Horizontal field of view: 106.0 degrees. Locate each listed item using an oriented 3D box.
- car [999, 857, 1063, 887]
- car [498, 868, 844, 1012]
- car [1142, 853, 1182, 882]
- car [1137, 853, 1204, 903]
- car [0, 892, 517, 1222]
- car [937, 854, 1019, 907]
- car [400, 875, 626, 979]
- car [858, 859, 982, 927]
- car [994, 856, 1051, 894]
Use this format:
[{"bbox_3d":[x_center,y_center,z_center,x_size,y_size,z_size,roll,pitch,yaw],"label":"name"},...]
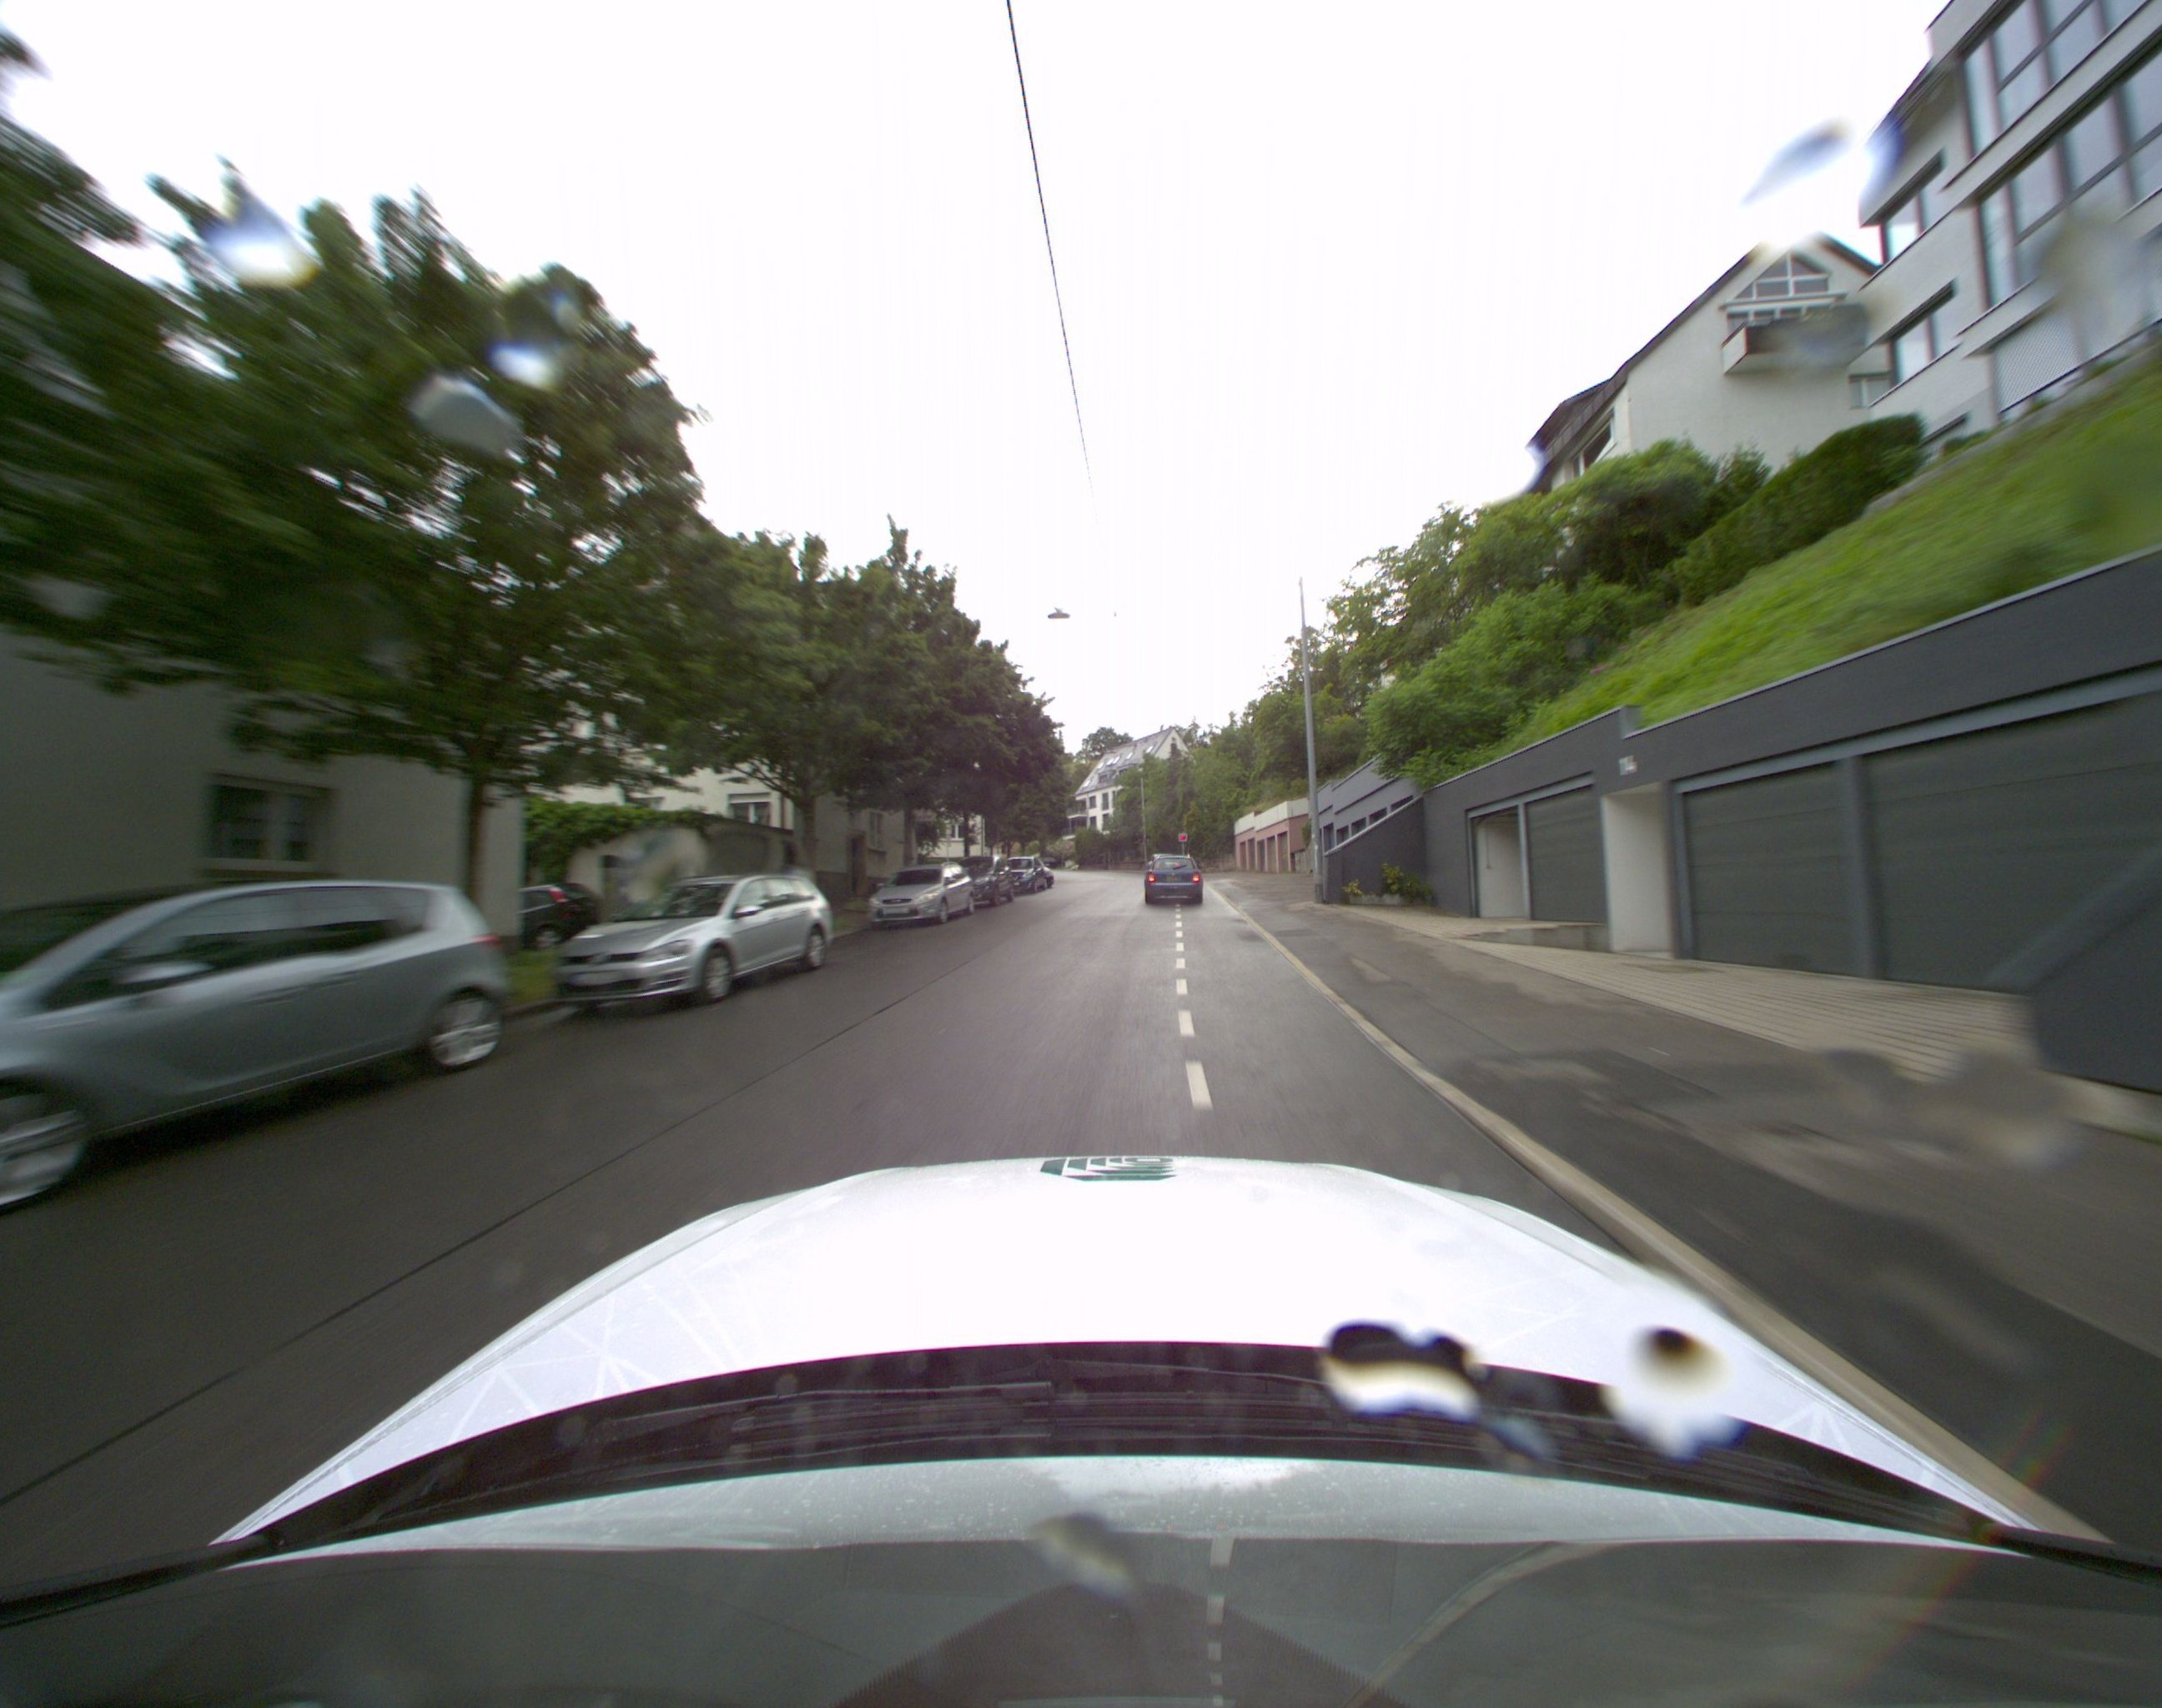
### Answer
[{"bbox_3d":[-2.502,0.871,39.677,2.000,1.391,4.168,-1,-1,-20],"label":"car"},{"bbox_3d":[-4.876,0.932,10.627,1.796,1.453,4.603,0,-2,5],"label":"car"},{"bbox_3d":[4.807,0.794,48.985,1.943,1.561,4.263,3,0,0],"label":"car"},{"bbox_3d":[2.893,0.685,25.539,1.843,1.414,4.373,-1,0,9],"label":"car"},{"bbox_3d":[-5.931,1.064,4.935,1.796,1.486,4.241,-3,-2,5],"label":"car"},{"bbox_3d":[-3.353,0.850,27.340,1.795,1.627,4.146,0,-1,6],"label":"car"},{"bbox_3d":[-12.951,1.628,18.742,3.682,1.543,1.798,-11,0,-1],"label":"car"},{"bbox_3d":[-4.028,0.970,21.304,1.795,1.552,4.807,0,-2,6],"label":"car"},{"bbox_3d":[-2.430,0.860,34.908,1.703,1.462,3.889,1,1,7],"label":"car"}]
